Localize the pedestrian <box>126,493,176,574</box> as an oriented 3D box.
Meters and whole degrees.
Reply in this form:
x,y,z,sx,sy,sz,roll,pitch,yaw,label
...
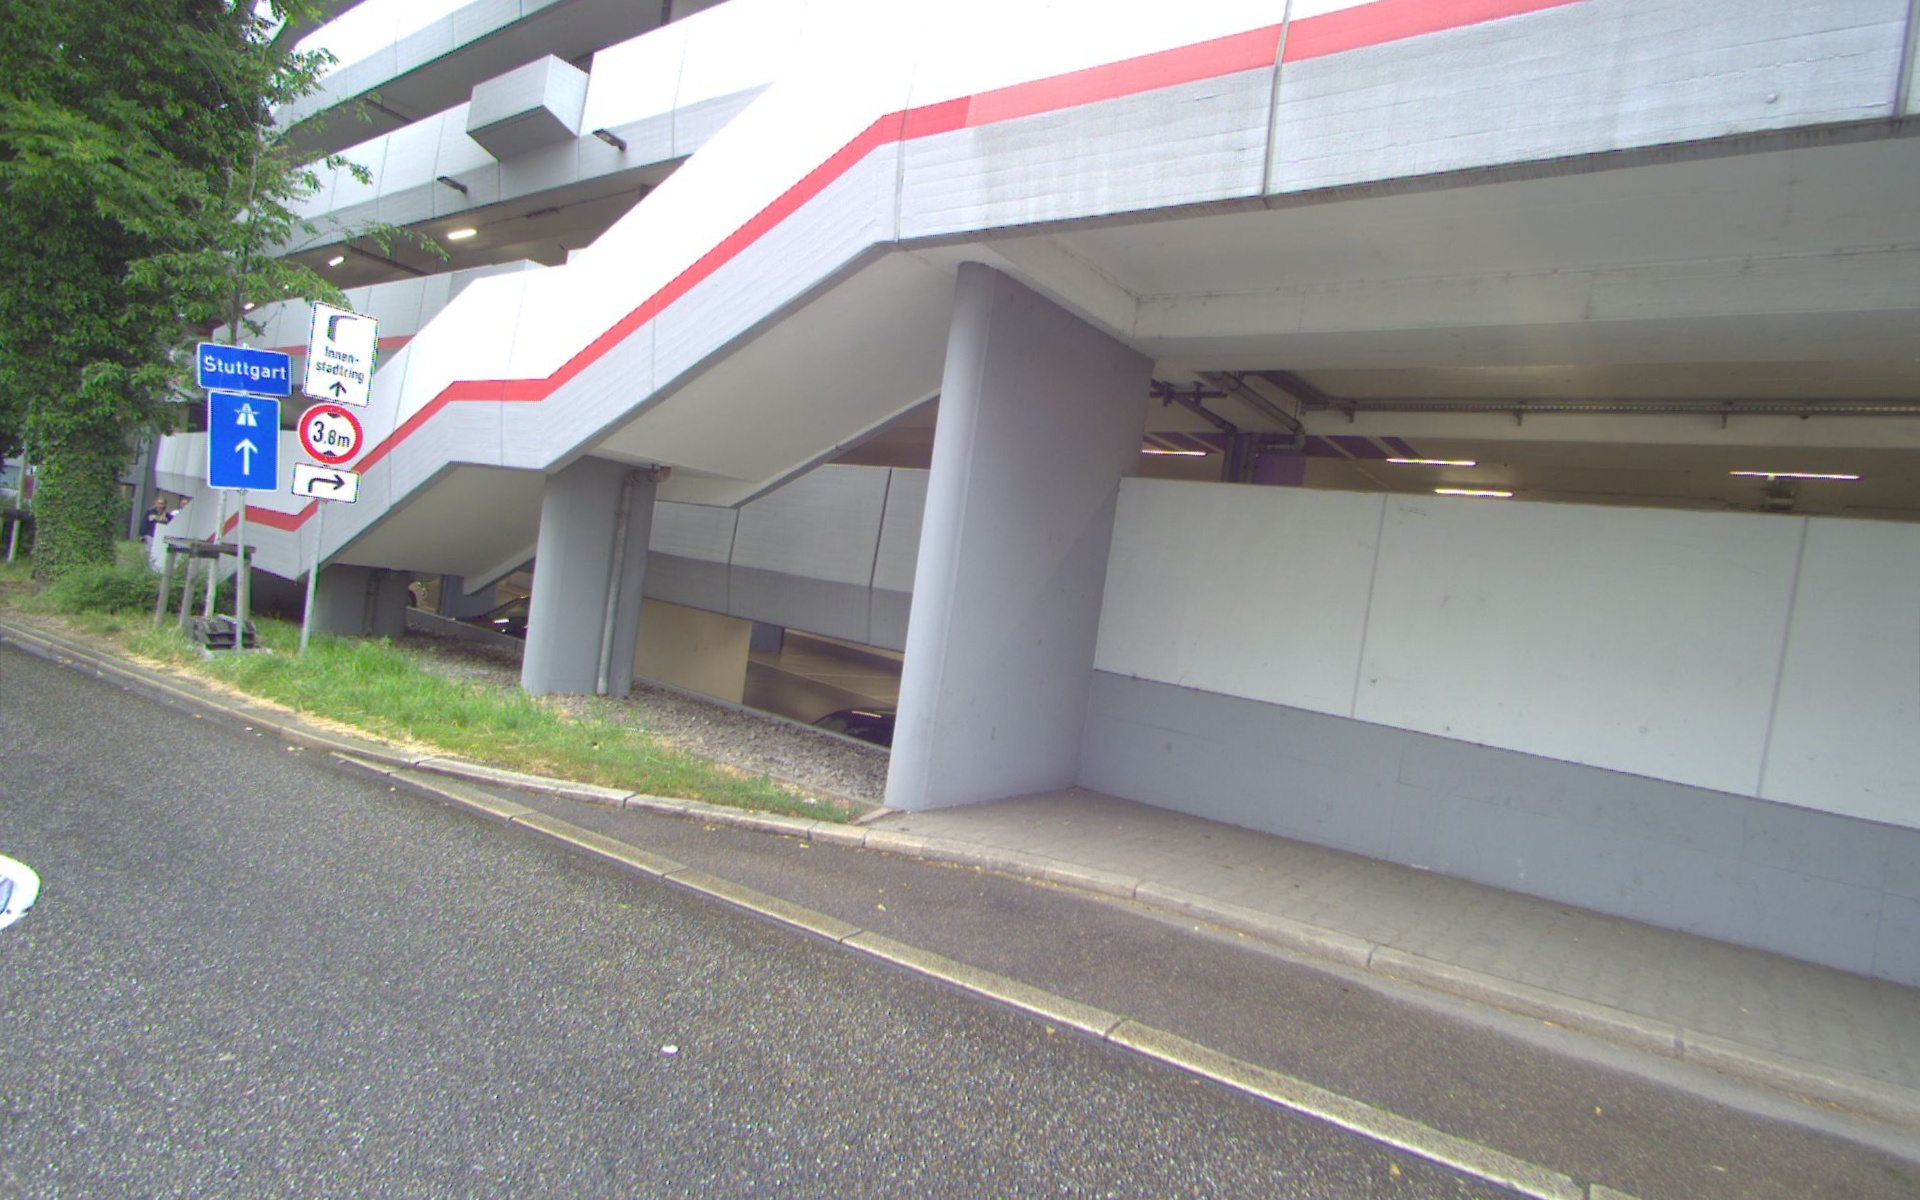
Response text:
x,y,z,sx,sy,sz,roll,pitch,yaw,label
-16.541,-1.360,20.577,0.481,1.550,0.551,6,-1,38,pedestrian

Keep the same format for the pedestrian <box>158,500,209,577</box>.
x,y,z,sx,sy,sz,roll,pitch,yaw,label
-16.311,-1.286,21.133,0.496,1.519,0.582,6,-1,37,pedestrian
